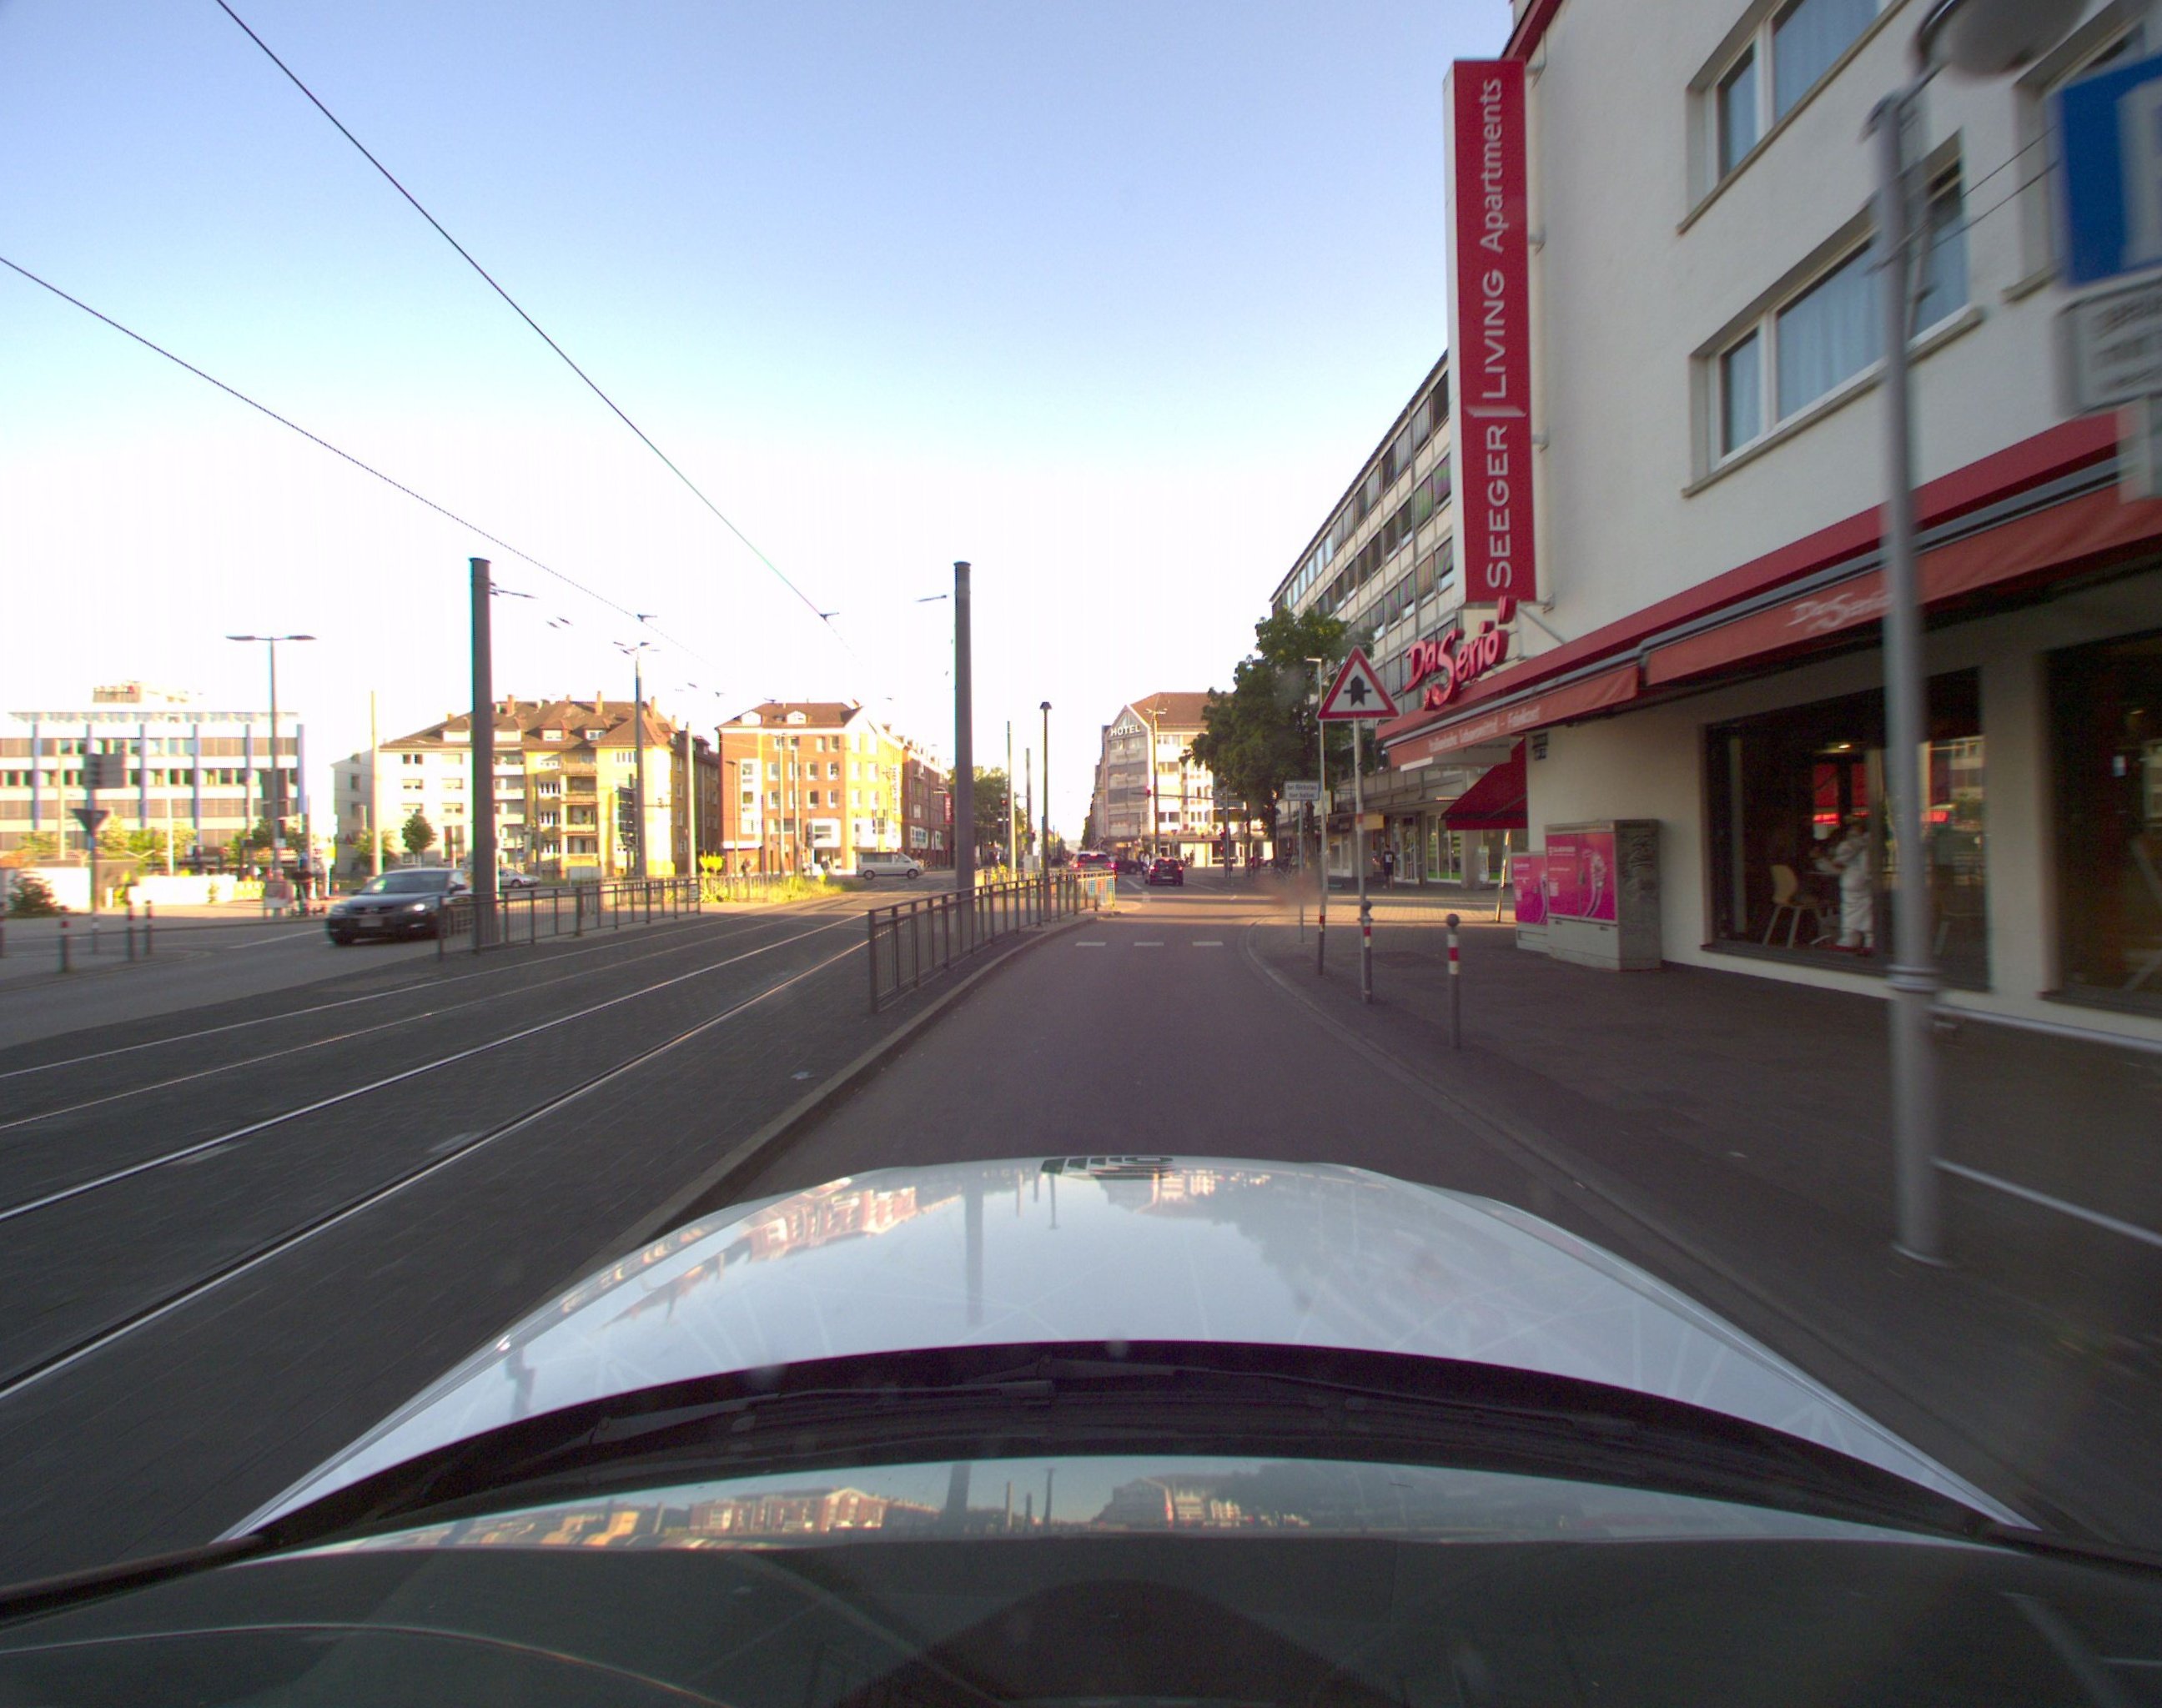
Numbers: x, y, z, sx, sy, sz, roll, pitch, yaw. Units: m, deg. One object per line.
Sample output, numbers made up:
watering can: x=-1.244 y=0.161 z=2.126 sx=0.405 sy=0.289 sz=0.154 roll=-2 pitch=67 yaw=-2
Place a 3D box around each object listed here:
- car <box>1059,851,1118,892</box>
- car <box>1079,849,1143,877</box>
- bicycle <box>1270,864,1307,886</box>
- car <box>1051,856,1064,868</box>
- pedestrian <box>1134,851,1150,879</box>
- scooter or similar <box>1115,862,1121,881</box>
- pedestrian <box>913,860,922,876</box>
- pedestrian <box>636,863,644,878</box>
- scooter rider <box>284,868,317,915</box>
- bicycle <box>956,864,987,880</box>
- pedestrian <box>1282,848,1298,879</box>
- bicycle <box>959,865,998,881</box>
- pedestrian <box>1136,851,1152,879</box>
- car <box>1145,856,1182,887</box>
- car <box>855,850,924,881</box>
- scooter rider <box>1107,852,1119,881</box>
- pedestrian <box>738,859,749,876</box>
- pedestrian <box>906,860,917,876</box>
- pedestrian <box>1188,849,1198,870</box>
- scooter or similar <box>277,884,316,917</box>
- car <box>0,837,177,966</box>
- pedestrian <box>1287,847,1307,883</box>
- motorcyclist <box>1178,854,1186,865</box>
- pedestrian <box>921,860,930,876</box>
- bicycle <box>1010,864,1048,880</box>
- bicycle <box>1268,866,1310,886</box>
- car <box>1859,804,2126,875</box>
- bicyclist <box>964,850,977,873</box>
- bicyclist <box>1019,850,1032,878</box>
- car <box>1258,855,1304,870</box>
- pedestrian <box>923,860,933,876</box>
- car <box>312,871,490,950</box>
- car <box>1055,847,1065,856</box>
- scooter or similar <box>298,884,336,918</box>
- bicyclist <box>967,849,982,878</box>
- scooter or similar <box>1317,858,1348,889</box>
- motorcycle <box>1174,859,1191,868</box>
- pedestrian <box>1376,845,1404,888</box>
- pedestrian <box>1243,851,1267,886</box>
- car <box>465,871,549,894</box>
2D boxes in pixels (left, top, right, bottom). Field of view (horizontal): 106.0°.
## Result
car: x=0.253 y=0.706 z=34.794 sx=1.835 sy=1.636 sz=4.077 roll=0 pitch=0 yaw=-9
car: x=2.268 y=0.669 z=62.141 sx=4.564 sy=2.037 sz=1.991 roll=-2 pitch=0 yaw=-13
bicycle: x=9.765 y=0.989 z=38.314 sx=1.649 sy=0.974 sz=0.387 roll=0 pitch=-1 yaw=6
car: x=-3.506 y=1.195 z=122.535 sx=1.805 sy=1.746 sz=3.715 roll=1 pitch=-1 yaw=1
pedestrian: x=3.987 y=0.711 z=53.568 sx=0.991 sy=1.830 sz=0.729 roll=1 pitch=-1 yaw=1
scooter or similar: x=2.136 y=1.016 z=47.264 sx=0.278 sy=1.091 sz=1.259 roll=0 pitch=-1 yaw=6
pedestrian: x=-21.296 y=1.813 z=106.089 sx=1.091 sy=2.014 sz=0.907 roll=1 pitch=-1 yaw=-3
pedestrian: x=-48.300 y=1.836 z=89.204 sx=0.549 sy=1.642 sz=0.500 roll=1 pitch=-1 yaw=-2
scooter rider: x=-26.855 y=1.294 z=28.039 sx=0.587 sy=1.593 sz=0.653 roll=1 pitch=-1 yaw=-21
bicycle: x=-7.428 y=1.235 z=55.397 sx=2.033 sy=1.028 sz=0.416 roll=0 pitch=-1 yaw=-6
pedestrian: x=12.243 y=0.557 z=47.822 sx=0.743 sy=1.778 sz=0.800 roll=1 pitch=-1 yaw=1
bicycle: x=-7.088 y=1.336 z=56.226 sx=2.649 sy=1.100 sz=0.432 roll=1 pitch=-1 yaw=-20
pedestrian: x=4.076 y=0.723 z=52.737 sx=0.991 sy=1.830 sz=0.729 roll=1 pitch=-1 yaw=0
car: x=4.248 y=0.872 z=42.305 sx=1.756 sy=1.440 sz=4.004 roll=-1 pitch=0 yaw=3
car: x=-13.644 y=0.791 z=58.105 sx=4.692 sy=2.013 sz=1.990 roll=-1 pitch=0 yaw=-16
scooter rider: x=1.854 y=0.707 z=47.149 sx=0.658 sy=1.647 sz=0.662 roll=0 pitch=-1 yaw=8
pedestrian: x=-34.546 y=1.408 z=83.335 sx=0.682 sy=1.743 sz=0.671 roll=-1 pitch=-2 yaw=19
pedestrian: x=-21.678 y=1.780 z=104.166 sx=1.091 sy=2.014 sz=0.907 roll=1 pitch=-1 yaw=-3
pedestrian: x=9.803 y=0.483 z=71.378 sx=0.743 sy=1.778 sz=0.800 roll=1 pitch=-1 yaw=2
scooter or similar: x=-26.707 y=1.567 z=27.739 sx=0.427 sy=1.063 sz=1.610 roll=1 pitch=-1 yaw=-25
car: x=-18.250 y=0.782 z=13.420 sx=3.996 sy=2.013 sz=1.989 roll=-1 pitch=0 yaw=-17
pedestrian: x=10.950 y=0.556 z=41.275 sx=0.743 sy=1.778 sz=0.973 roll=1 pitch=-1 yaw=1
motorcyclist: x=10.990 y=0.567 z=88.356 sx=0.703 sy=1.220 sz=0.787 roll=1 pitch=-1 yaw=-6
pedestrian: x=-20.051 y=1.814 z=105.129 sx=0.974 sy=2.014 sz=0.907 roll=1 pitch=-1 yaw=-3
bicycle: x=-3.638 y=1.269 z=56.735 sx=2.637 sy=1.100 sz=0.434 roll=1 pitch=-1 yaw=-7
bicycle: x=9.526 y=0.989 z=37.361 sx=1.808 sy=0.891 sz=0.416 roll=0 pitch=-1 yaw=6
car: x=24.197 y=-0.379 z=21.864 sx=4.385 sy=1.751 sz=1.931 roll=-1 pitch=2 yaw=22
bicyclist: x=-7.513 y=0.491 z=55.380 sx=0.705 sy=1.511 sz=0.547 roll=-3 pitch=0 yaw=-17
bicyclist: x=-3.842 y=0.692 z=56.698 sx=0.859 sy=1.878 sz=0.645 roll=1 pitch=-1 yaw=-7
car: x=22.112 y=0.944 z=90.185 sx=4.542 sy=1.620 sz=1.995 roll=0 pitch=-1 yaw=-4
pedestrian: x=-20.593 y=1.876 z=109.689 sx=1.091 sy=2.014 sz=1.162 roll=1 pitch=-1 yaw=-3
car: x=-14.044 y=1.074 z=17.115 sx=1.775 sy=1.376 sz=4.189 roll=-1 pitch=-1 yaw=-24
car: x=-4.865 y=-0.567 z=188.987 sx=1.987 sy=1.901 sz=4.000 roll=1 pitch=-1 yaw=1
scooter or similar: x=-26.195 y=1.600 z=27.942 sx=0.427 sy=1.082 sz=1.610 roll=1 pitch=-1 yaw=-25
bicyclist: x=-7.336 y=0.658 z=56.136 sx=0.863 sy=2.014 sz=0.642 roll=1 pitch=-1 yaw=-20
scooter or similar: x=10.130 y=0.781 z=32.823 sx=0.296 sy=1.218 sz=1.206 roll=2 pitch=-3 yaw=-44
motorcycle: x=10.989 y=1.012 z=88.332 sx=1.830 sy=0.908 sz=0.431 roll=1 pitch=-1 yaw=-5
pedestrian: x=12.133 y=0.497 z=31.994 sx=0.743 sy=1.684 sz=0.894 roll=1 pitch=-1 yaw=1
pedestrian: x=8.467 y=0.709 z=39.634 sx=0.824 sy=1.685 sz=1.044 roll=1 pitch=-1 yaw=-12
car: x=-39.976 y=1.977 z=56.791 sx=4.335 sy=1.551 sz=1.994 roll=0 pitch=-1 yaw=-8
